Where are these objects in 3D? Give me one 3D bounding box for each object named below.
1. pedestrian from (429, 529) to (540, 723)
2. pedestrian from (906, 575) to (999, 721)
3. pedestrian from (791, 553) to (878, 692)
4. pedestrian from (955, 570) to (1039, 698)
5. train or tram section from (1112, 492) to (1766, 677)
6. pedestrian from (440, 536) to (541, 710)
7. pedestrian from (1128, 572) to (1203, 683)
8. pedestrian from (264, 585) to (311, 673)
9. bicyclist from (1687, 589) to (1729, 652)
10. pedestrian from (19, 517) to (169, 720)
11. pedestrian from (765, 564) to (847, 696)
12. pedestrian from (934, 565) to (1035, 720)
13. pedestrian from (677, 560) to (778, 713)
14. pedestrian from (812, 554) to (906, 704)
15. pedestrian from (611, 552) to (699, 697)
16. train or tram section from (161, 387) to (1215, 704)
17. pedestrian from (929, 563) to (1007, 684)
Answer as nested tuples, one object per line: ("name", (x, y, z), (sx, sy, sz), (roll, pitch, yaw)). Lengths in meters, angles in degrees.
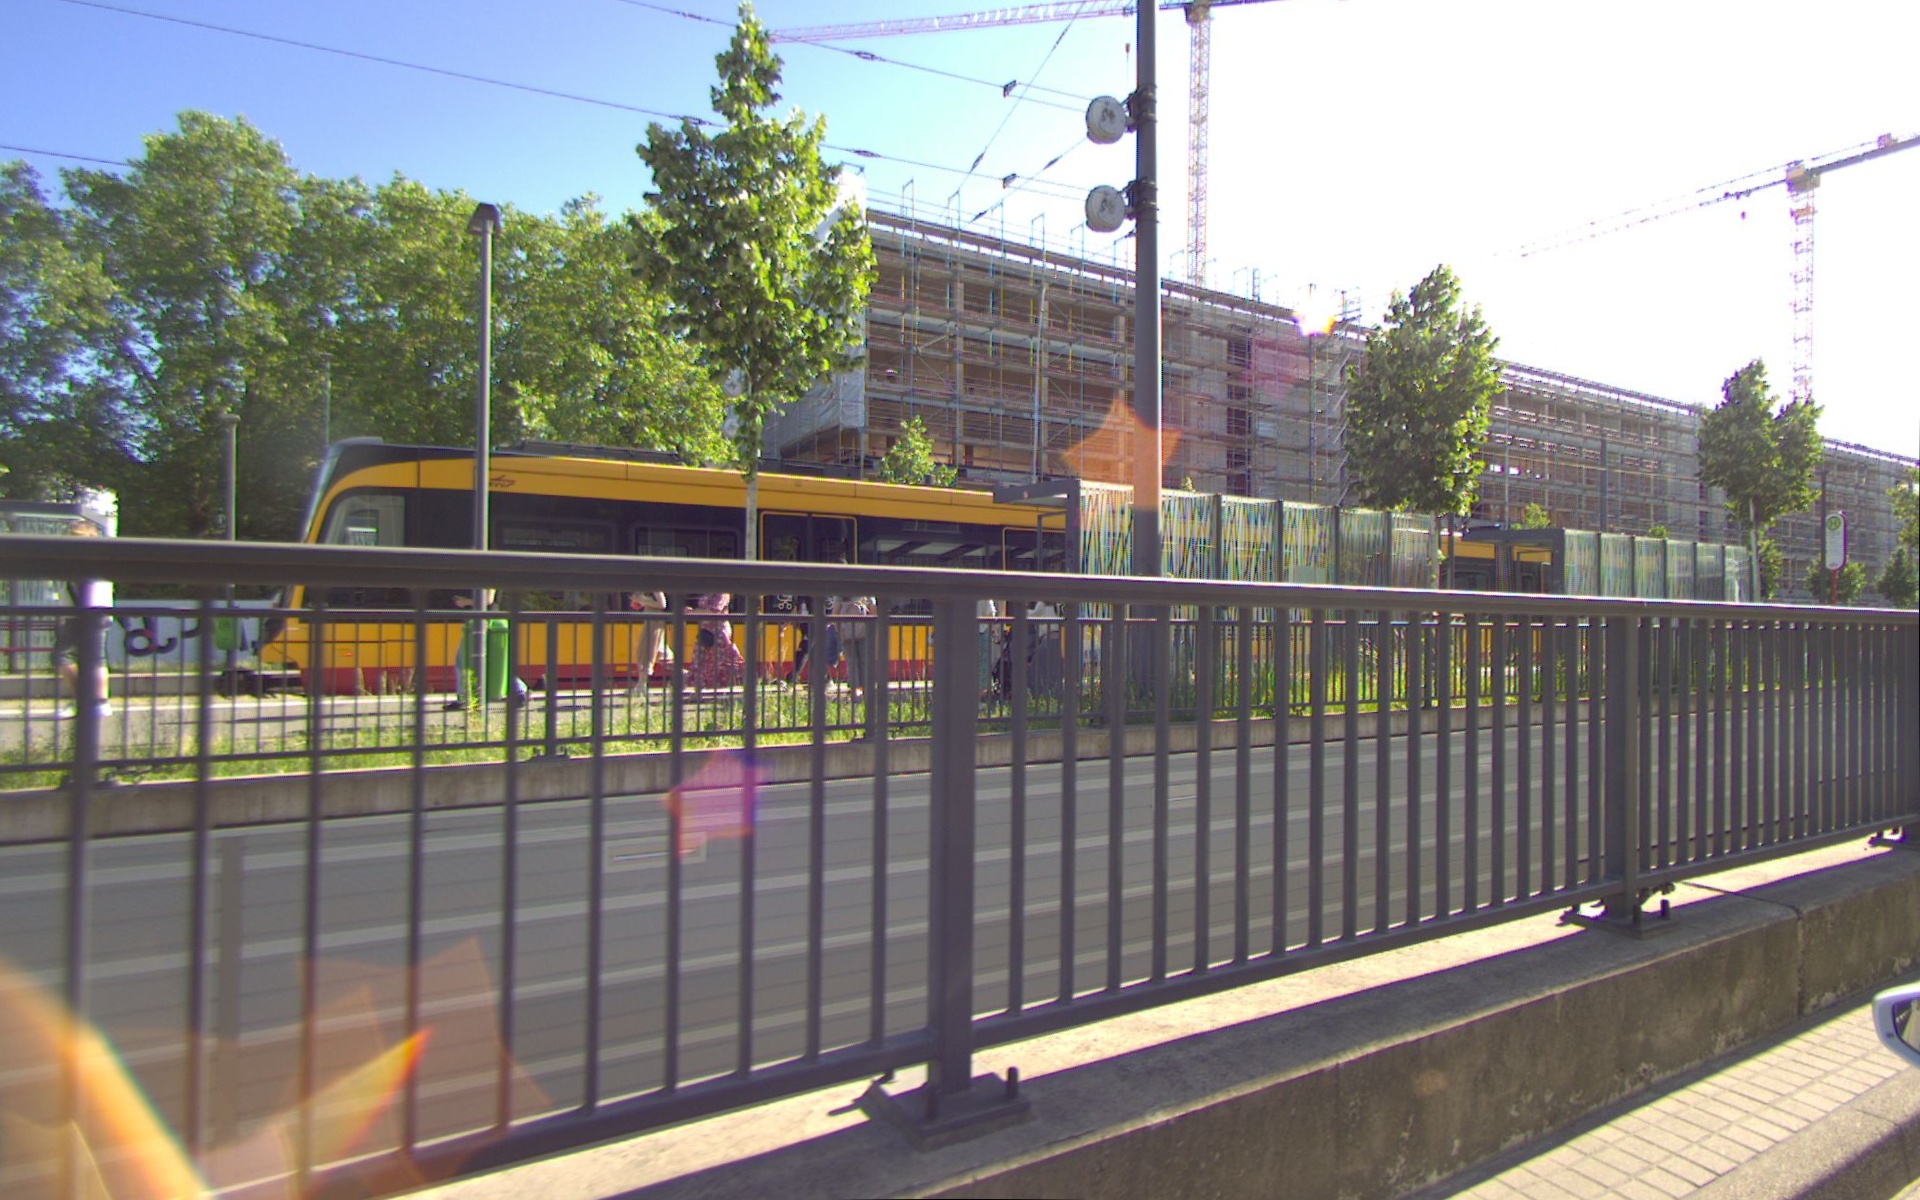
("pedestrian", (-4.314, 0.233, 9.098), (0.851, 1.650, 0.738), (1, -1, -29))
("pedestrian", (-0.092, 0.556, 11.906), (0.851, 1.650, 0.738), (1, -1, -29))
("pedestrian", (-1.562, 0.285, 12.452), (0.851, 1.650, 0.738), (1, -1, -29))
("pedestrian", (0.492, 0.452, 13.468), (0.851, 1.650, 0.738), (1, -1, -29))
("train or tram section", (13.297, -0.108, 24.938), (21.883, 3.323, 2.856), (1, 1, -30))
("pedestrian", (-4.717, 0.233, 10.074), (0.851, 1.650, 0.738), (1, -1, -29))
("pedestrian", (3.157, 0.417, 15.471), (0.851, 1.650, 0.738), (1, -1, -29))
("pedestrian", (-12.598, 0.543, 18.841), (0.675, 1.613, 0.652), (1, -1, -32))
("bicyclist", (18.244, 0.495, 24.502), (0.843, 1.511, 0.535), (1, -1, -30))
("pedestrian", (-7.731, 0.168, 9.014), (0.851, 1.717, 0.738), (1, -1, -29))
("pedestrian", (-2.016, 0.390, 13.114), (0.851, 1.650, 0.738), (1, -1, -29))
("pedestrian", (0.268, 0.464, 11.176), (0.851, 1.650, 0.738), (1, -1, -29))
("pedestrian", (-2.633, 0.403, 11.374), (0.935, 1.650, 0.738), (1, -1, -29))
("pedestrian", (-1.166, 0.333, 11.559), (0.851, 1.650, 0.738), (1, -1, -29))
("pedestrian", (-3.650, 0.289, 12.000), (0.851, 1.650, 0.738), (1, -1, -29))
("train or tram section", (-2.598, -0.463, 15.588), (15.006, 3.323, 2.856), (1, 1, -30))
("pedestrian", (0.107, 0.328, 14.187), (0.851, 1.650, 0.738), (1, -1, -29))
